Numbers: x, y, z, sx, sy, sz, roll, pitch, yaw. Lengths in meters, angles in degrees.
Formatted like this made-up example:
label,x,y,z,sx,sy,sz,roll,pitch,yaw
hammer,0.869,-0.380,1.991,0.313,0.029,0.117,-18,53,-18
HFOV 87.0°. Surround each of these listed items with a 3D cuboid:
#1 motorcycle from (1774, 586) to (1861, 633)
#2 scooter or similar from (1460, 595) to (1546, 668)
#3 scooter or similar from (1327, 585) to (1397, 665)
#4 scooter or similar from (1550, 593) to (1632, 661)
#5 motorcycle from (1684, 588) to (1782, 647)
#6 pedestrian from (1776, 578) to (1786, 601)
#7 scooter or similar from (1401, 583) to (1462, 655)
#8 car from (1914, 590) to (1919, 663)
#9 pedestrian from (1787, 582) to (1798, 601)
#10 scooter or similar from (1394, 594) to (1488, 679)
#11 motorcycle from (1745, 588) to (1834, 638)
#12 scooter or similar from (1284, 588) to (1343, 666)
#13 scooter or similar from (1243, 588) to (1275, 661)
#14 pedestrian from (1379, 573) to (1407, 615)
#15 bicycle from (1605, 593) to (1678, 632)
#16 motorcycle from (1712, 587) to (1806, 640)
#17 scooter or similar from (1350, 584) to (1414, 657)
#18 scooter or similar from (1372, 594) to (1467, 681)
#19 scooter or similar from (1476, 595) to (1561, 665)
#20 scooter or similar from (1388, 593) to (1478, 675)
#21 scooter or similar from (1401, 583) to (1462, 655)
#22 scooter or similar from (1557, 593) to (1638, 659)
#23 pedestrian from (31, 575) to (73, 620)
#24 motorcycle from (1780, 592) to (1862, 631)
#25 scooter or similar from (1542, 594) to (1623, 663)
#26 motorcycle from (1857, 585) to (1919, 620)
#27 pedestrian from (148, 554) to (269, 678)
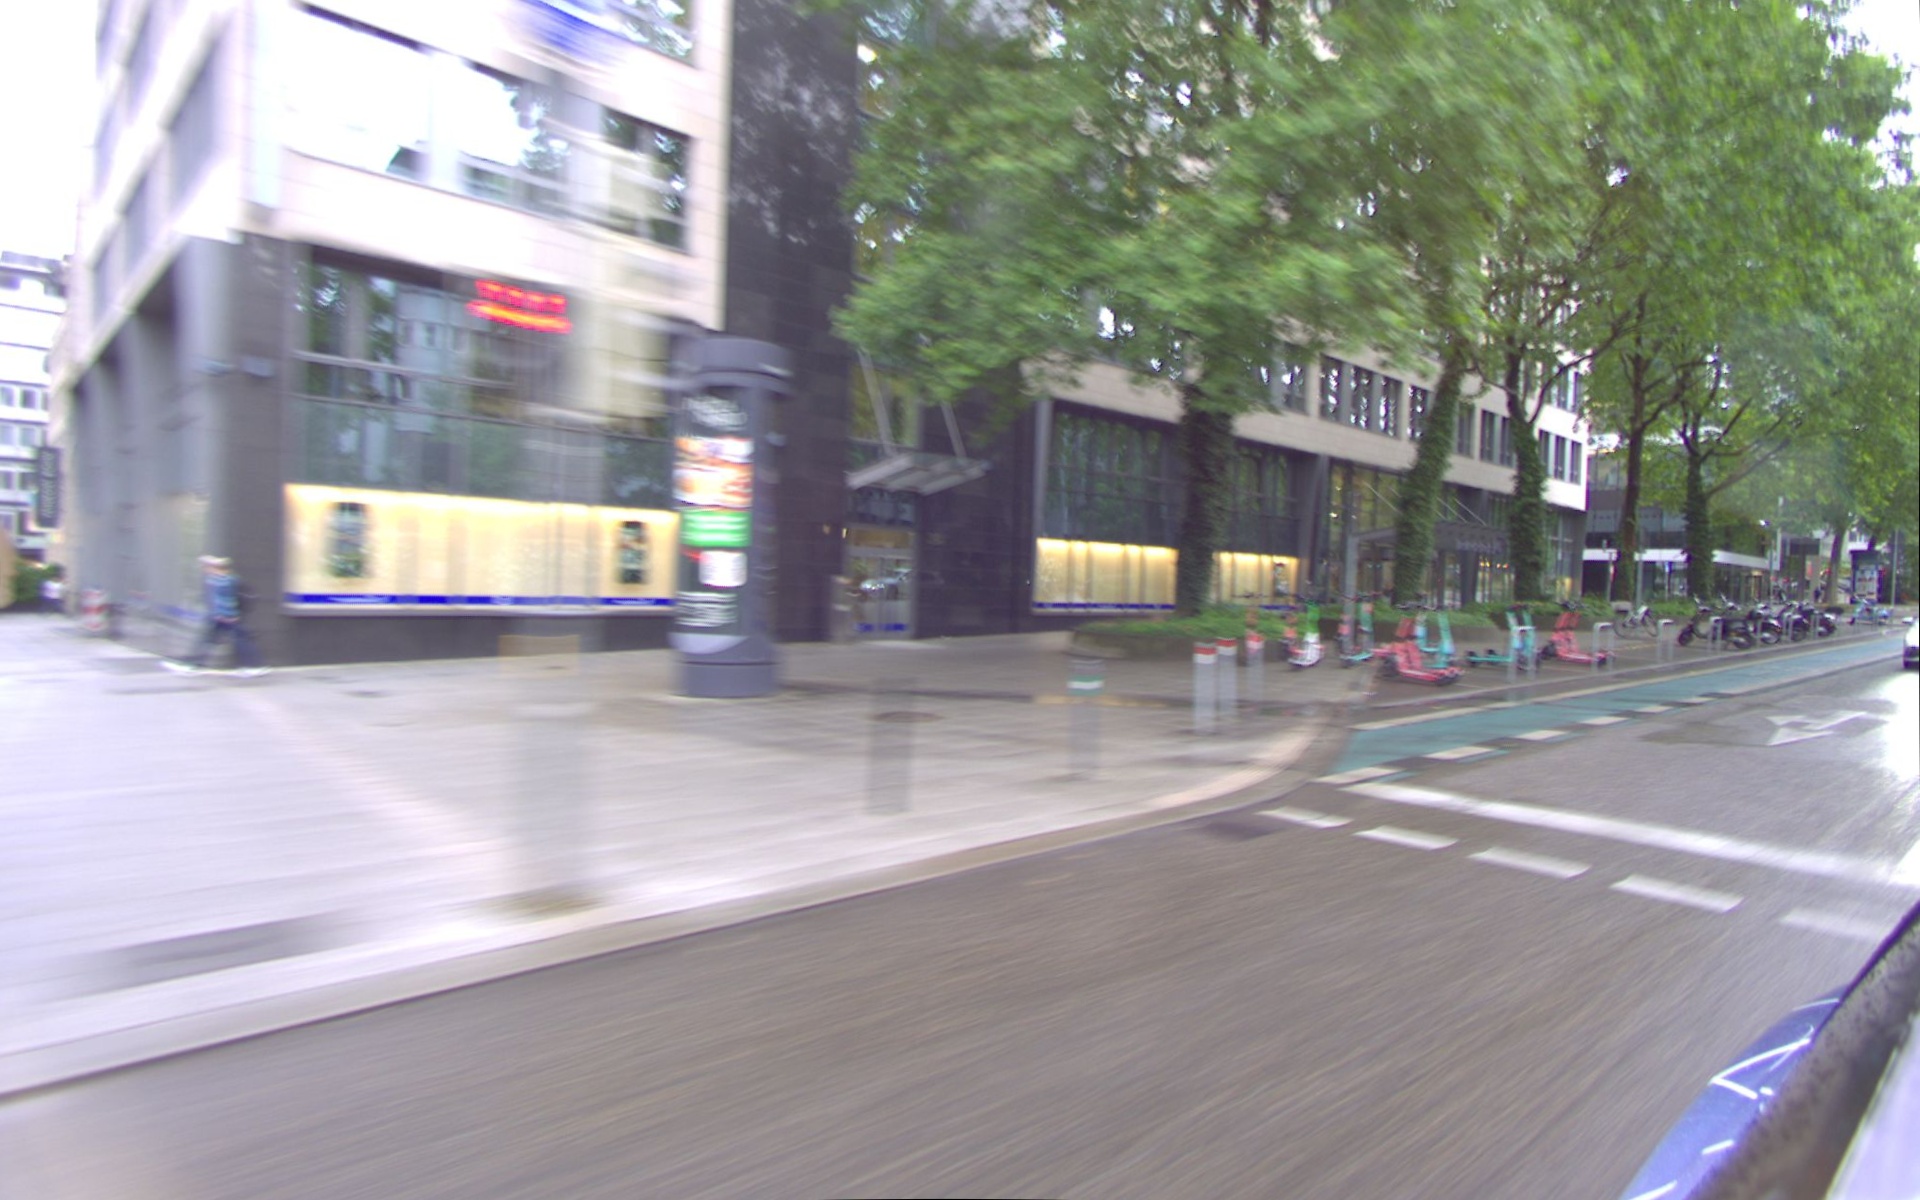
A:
label,x,y,z,sx,sy,sz,roll,pitch,yaw
motorcycle,28.666,0.305,33.882,2.043,1.446,0.721,3,1,30
scooter or similar,10.137,0.574,18.930,0.480,1.251,1.293,2,1,-37
scooter or similar,6.696,0.410,16.829,1.270,1.275,0.489,2,1,-40
scooter or similar,13.023,0.545,20.918,0.527,1.294,1.294,2,1,-36
motorcycle,20.360,0.444,26.712,1.949,1.391,0.720,4,1,35
pedestrian,71.606,-0.920,88.254,0.692,1.881,0.524,-2,4,-40
scooter or similar,8.778,0.349,18.812,1.270,1.275,0.489,2,1,-40
car,21.576,0.533,21.255,3.726,1.490,1.795,-1,1,-40
pedestrian,72.348,-0.748,87.921,0.707,1.645,0.527,-2,4,-40
scooter or similar,7.773,0.568,16.394,0.479,1.275,1.296,2,1,-28
motorcycle,25.405,0.388,31.052,1.945,1.391,0.721,3,1,29
scooter or similar,5.801,0.422,16.598,0.487,1.212,1.275,1,2,40
scooter or similar,5.228,0.403,17.652,0.483,1.212,1.286,0,2,19
pedestrian,18.030,-0.264,42.140,0.813,1.714,0.729,2,1,3
bicycle,19.022,0.346,28.244,1.727,1.040,0.640,0,1,-11
motorcycle,22.803,0.374,28.921,1.945,1.391,0.721,3,1,29
scooter or similar,7.635,0.369,18.311,1.270,1.275,0.489,2,1,-40
scooter or similar,7.267,0.580,16.064,0.479,1.275,1.296,2,1,-28
scooter or similar,10.693,0.558,19.406,0.480,1.251,1.293,2,1,-37
scooter or similar,7.935,0.553,17.026,0.479,1.275,1.296,2,1,-28
scooter or similar,8.778,0.349,18.812,1.270,1.275,0.489,2,1,-40
scooter or similar,13.345,0.535,21.213,0.527,1.294,1.294,2,1,-36
pedestrian,-37.866,-0.126,42.217,1.065,1.853,0.729,1,0,-5
motorcycle,30.273,0.385,35.606,2.031,1.227,0.682,3,3,15
scooter or similar,12.558,0.559,20.424,1.288,1.294,0.529,4,1,40
motorcycle,40.399,0.114,44.064,1.909,1.383,0.685,2,4,1
pedestrian,-11.785,0.221,15.918,1.250,1.873,0.922,-1,1,-13
